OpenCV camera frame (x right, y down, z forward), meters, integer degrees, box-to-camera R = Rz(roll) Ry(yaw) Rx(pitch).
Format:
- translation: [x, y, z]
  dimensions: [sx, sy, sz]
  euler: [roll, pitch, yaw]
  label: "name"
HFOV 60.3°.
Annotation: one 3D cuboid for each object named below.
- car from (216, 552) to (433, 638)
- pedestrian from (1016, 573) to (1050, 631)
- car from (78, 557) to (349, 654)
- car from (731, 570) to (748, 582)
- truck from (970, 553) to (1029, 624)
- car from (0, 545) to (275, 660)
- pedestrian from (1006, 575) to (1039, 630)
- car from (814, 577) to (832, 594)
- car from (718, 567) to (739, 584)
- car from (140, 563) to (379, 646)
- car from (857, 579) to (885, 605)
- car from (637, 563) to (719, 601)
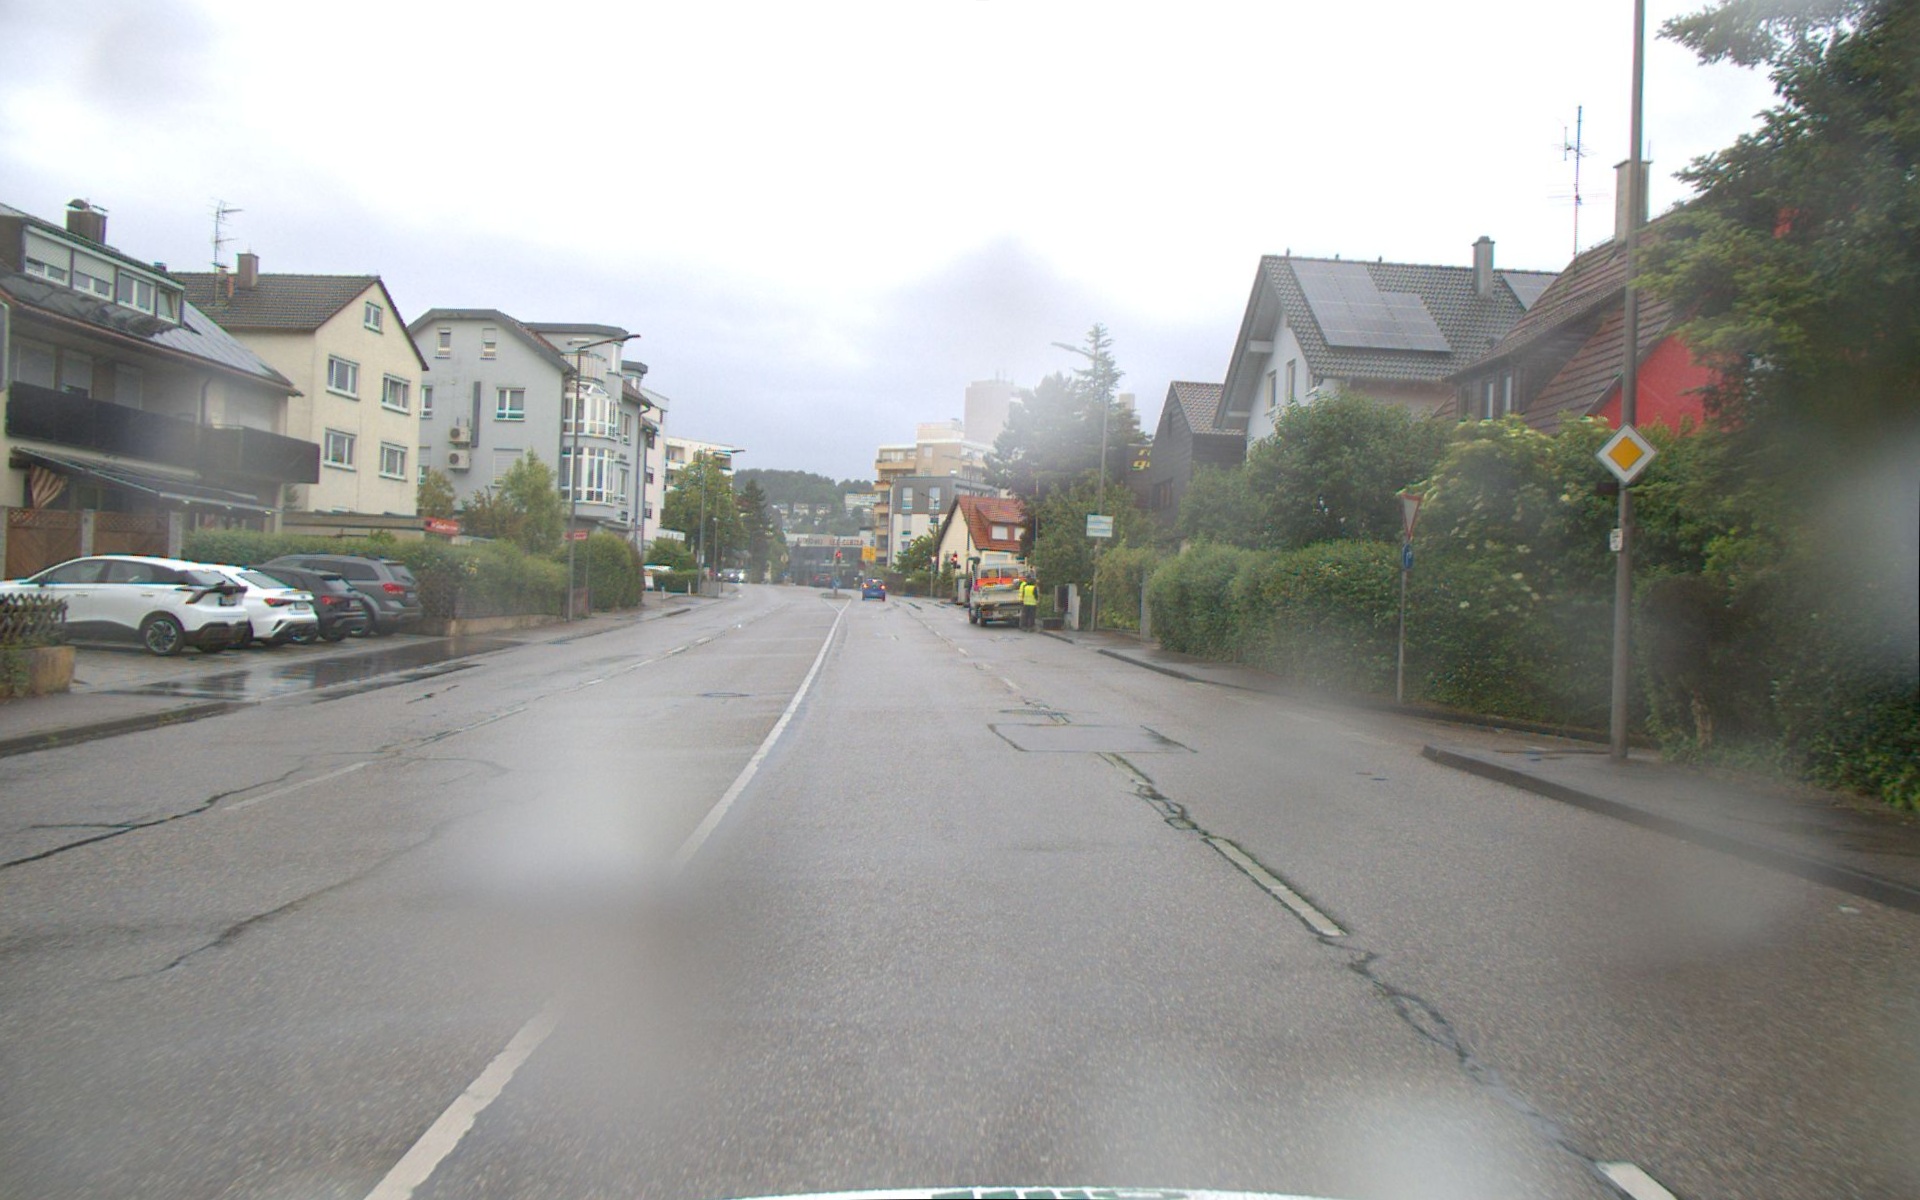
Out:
- translation: [-13.643, -0.098, 35.619]
  dimensions: [3.902, 1.716, 1.810]
  euler: [1, -1, 6]
  label: "car"
- translation: [2.360, 0.058, 53.621]
  dimensions: [0.811, 1.828, 0.795]
  euler: [2, 0, -21]
  label: "pedestrian"
- translation: [-13.388, 0.096, 29.814]
  dimensions: [3.904, 1.459, 1.972]
  euler: [3, 0, 3]
  label: "car"
- translation: [-23.695, -2.563, 177.907]
  dimensions: [1.409, 1.256, 3.998]
  euler: [3, 0, -3]
  label: "car"
- translation: [1.361, -0.409, 58.199]
  dimensions: [1.952, 2.344, 4.000]
  euler: [2, 0, 1]
  label: "truck"
- translation: [-13.685, 0.028, 27.089]
  dimensions: [4.014, 1.612, 1.957]
  euler: [3, 0, 2]
  label: "car"
- translation: [2.058, 0.075, 54.442]
  dimensions: [0.811, 1.756, 0.836]
  euler: [2, 0, -20]
  label: "pedestrian"
- translation: [-13.860, -1.451, 167.042]
  dimensions: [1.548, 1.462, 3.998]
  euler: [6, -1, -3]
  label: "car"
- translation: [-23.857, -2.534, 170.244]
  dimensions: [1.627, 1.488, 3.998]
  euler: [6, -1, -3]
  label: "car"
- translation: [-13.579, 0.082, 32.188]
  dimensions: [3.903, 1.471, 1.706]
  euler: [1, -1, 4]
  label: "car"
- translation: [-6.094, -0.554, 113.591]
  dimensions: [1.758, 1.699, 3.999]
  euler: [1, 0, -1]
  label: "car"
- translation: [-17.368, -1.110, 101.869]
  dimensions: [4.426, 2.048, 2.002]
  euler: [3, 0, 11]
  label: "car"
